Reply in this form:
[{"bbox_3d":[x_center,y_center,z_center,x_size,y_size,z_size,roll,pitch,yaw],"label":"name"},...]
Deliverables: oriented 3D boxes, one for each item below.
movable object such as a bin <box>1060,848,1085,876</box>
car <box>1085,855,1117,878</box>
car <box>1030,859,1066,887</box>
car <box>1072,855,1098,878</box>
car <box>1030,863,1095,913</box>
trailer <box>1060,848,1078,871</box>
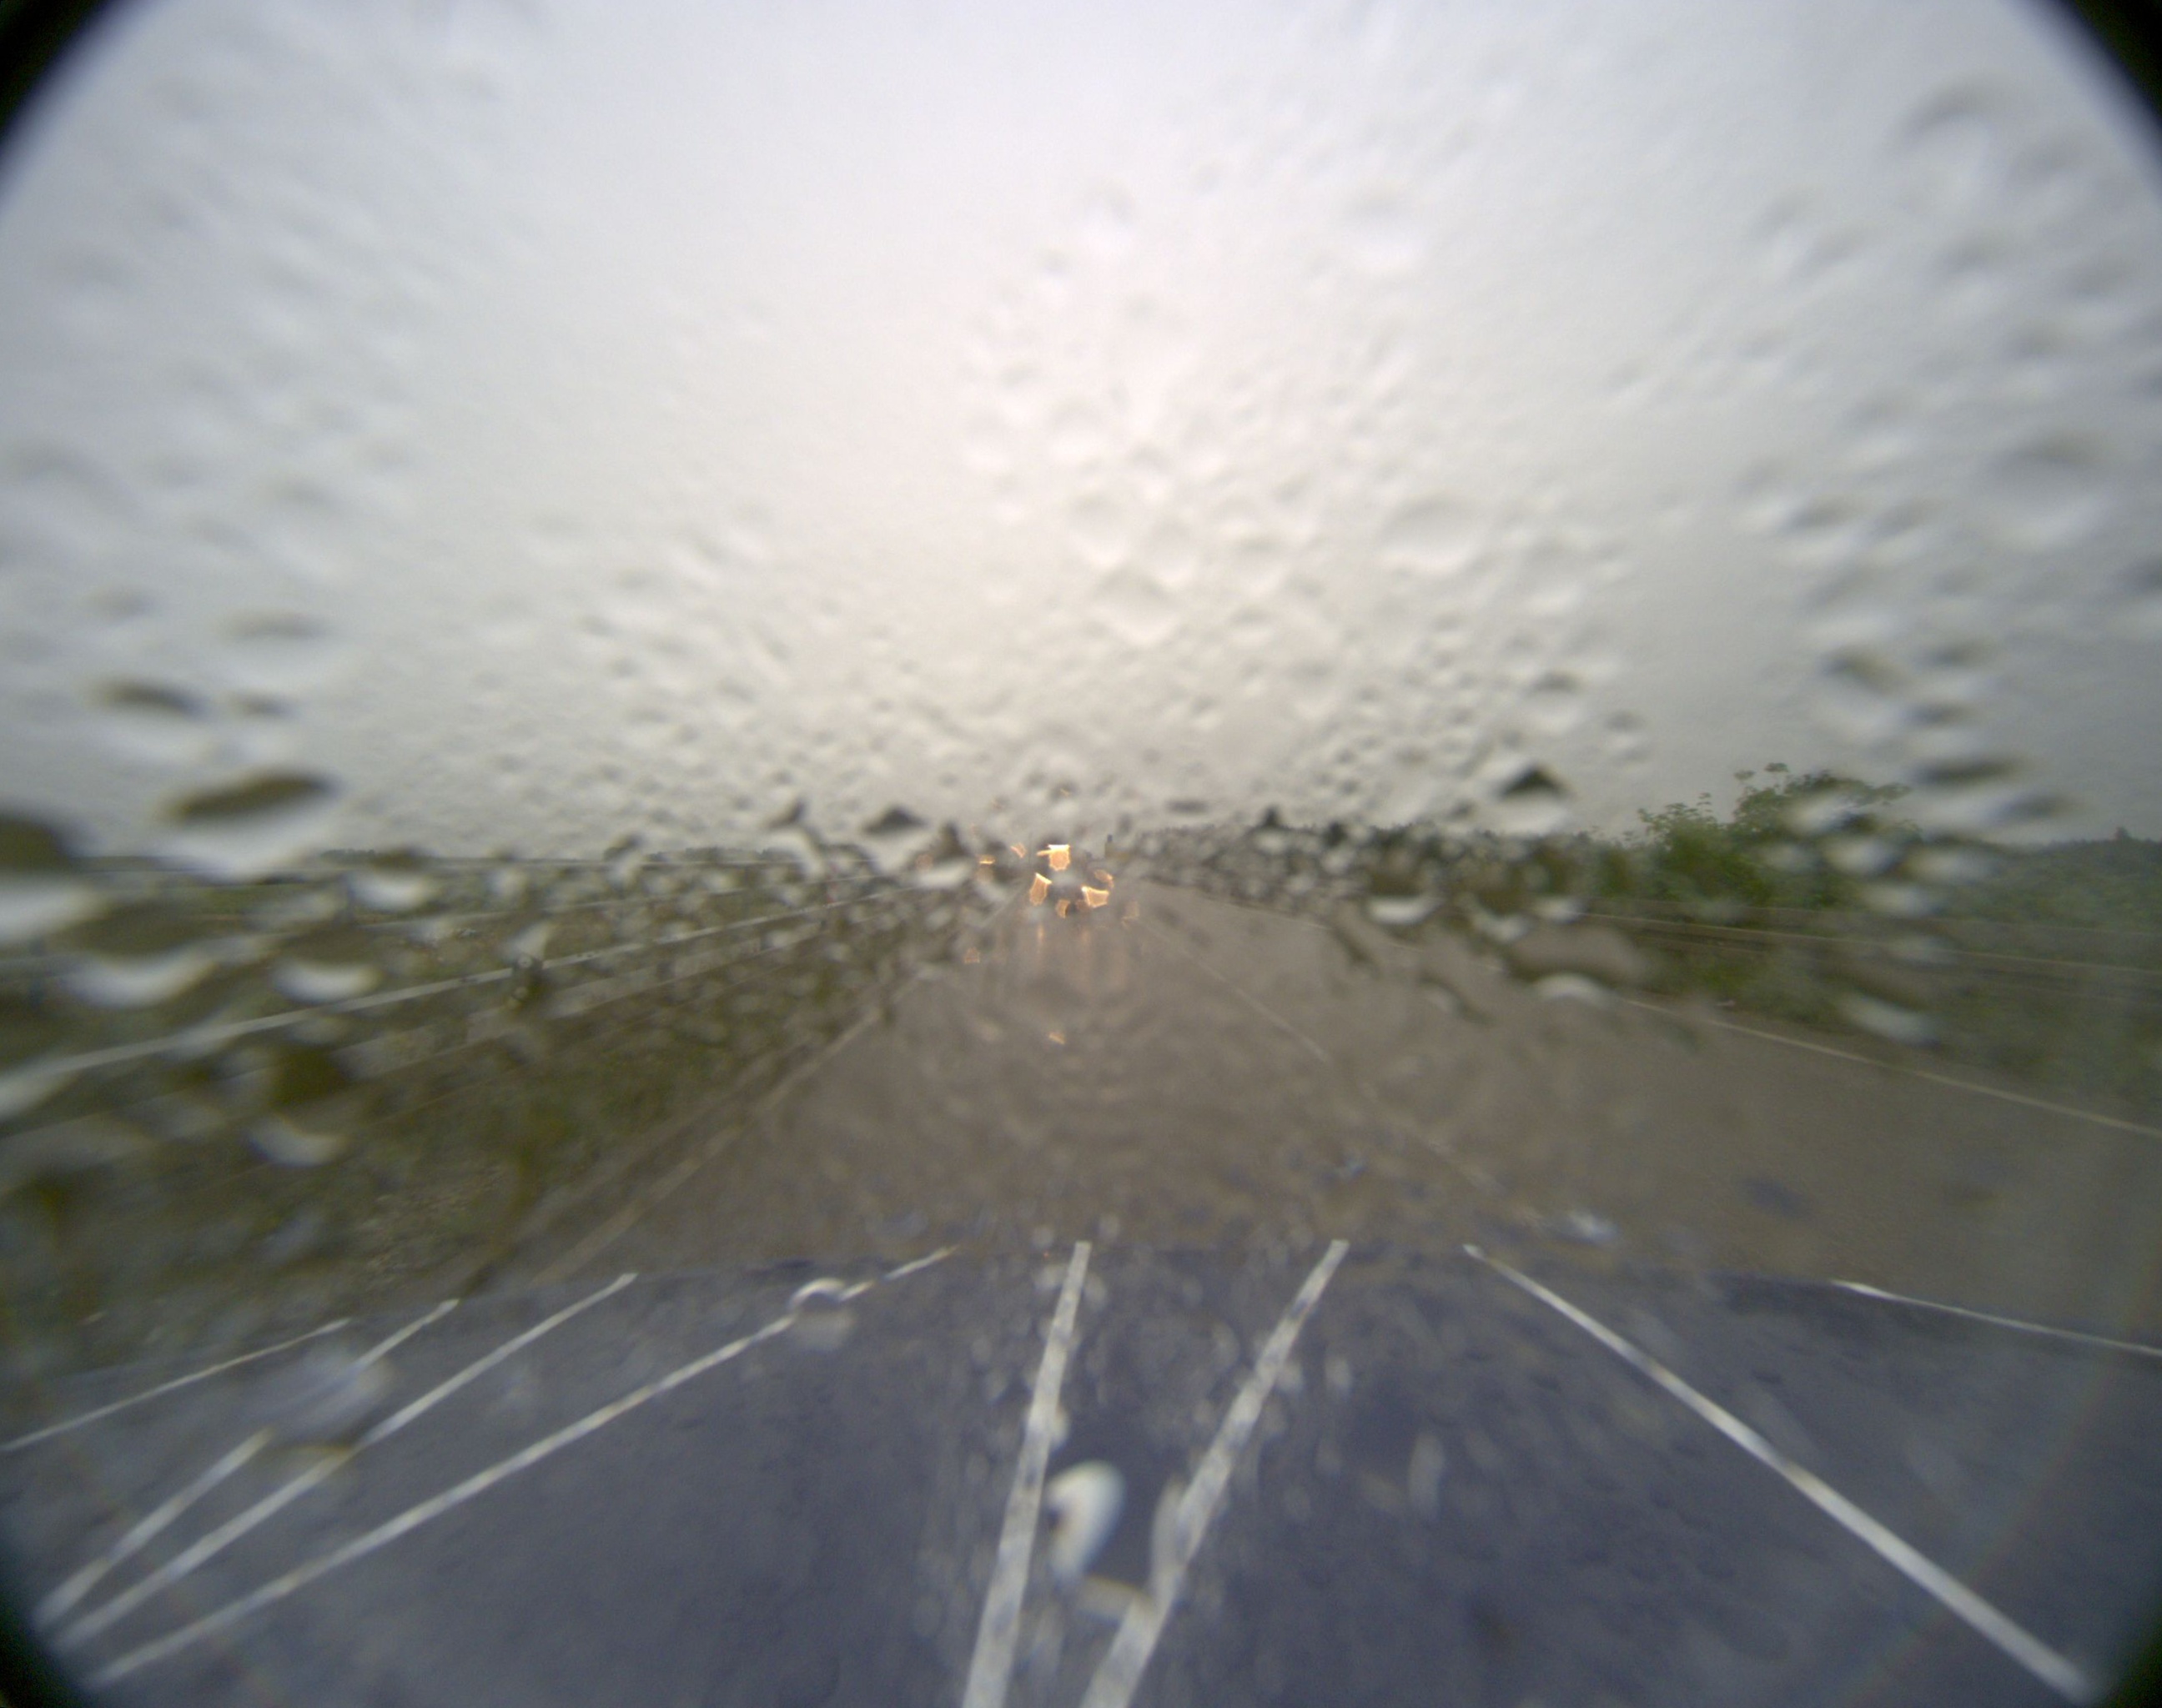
[{"bbox_3d":[-1.061,1.023,95.751,2.757,3.425,4.641,1,0,-5],"label":"movable object such as a bin"},{"bbox_3d":[1.338,0.887,52.948,1.844,1.528,4.068,1,-1,-3],"label":"car"},{"bbox_3d":[-1.770,0.994,40.538,1.819,1.382,4.068,0,0,-3],"label":"car"},{"bbox_3d":[0.286,1.073,65.364,2.071,1.826,4.931,1,-1,-1],"label":"car"},{"bbox_3d":[-0.615,0.987,23.518,1.819,1.382,4.068,-1,0,-3],"label":"car"},{"bbox_3d":[-2.274,1.072,138.345,2.826,3.946,13.733,0,-1,-3],"label":"trailer"}]
